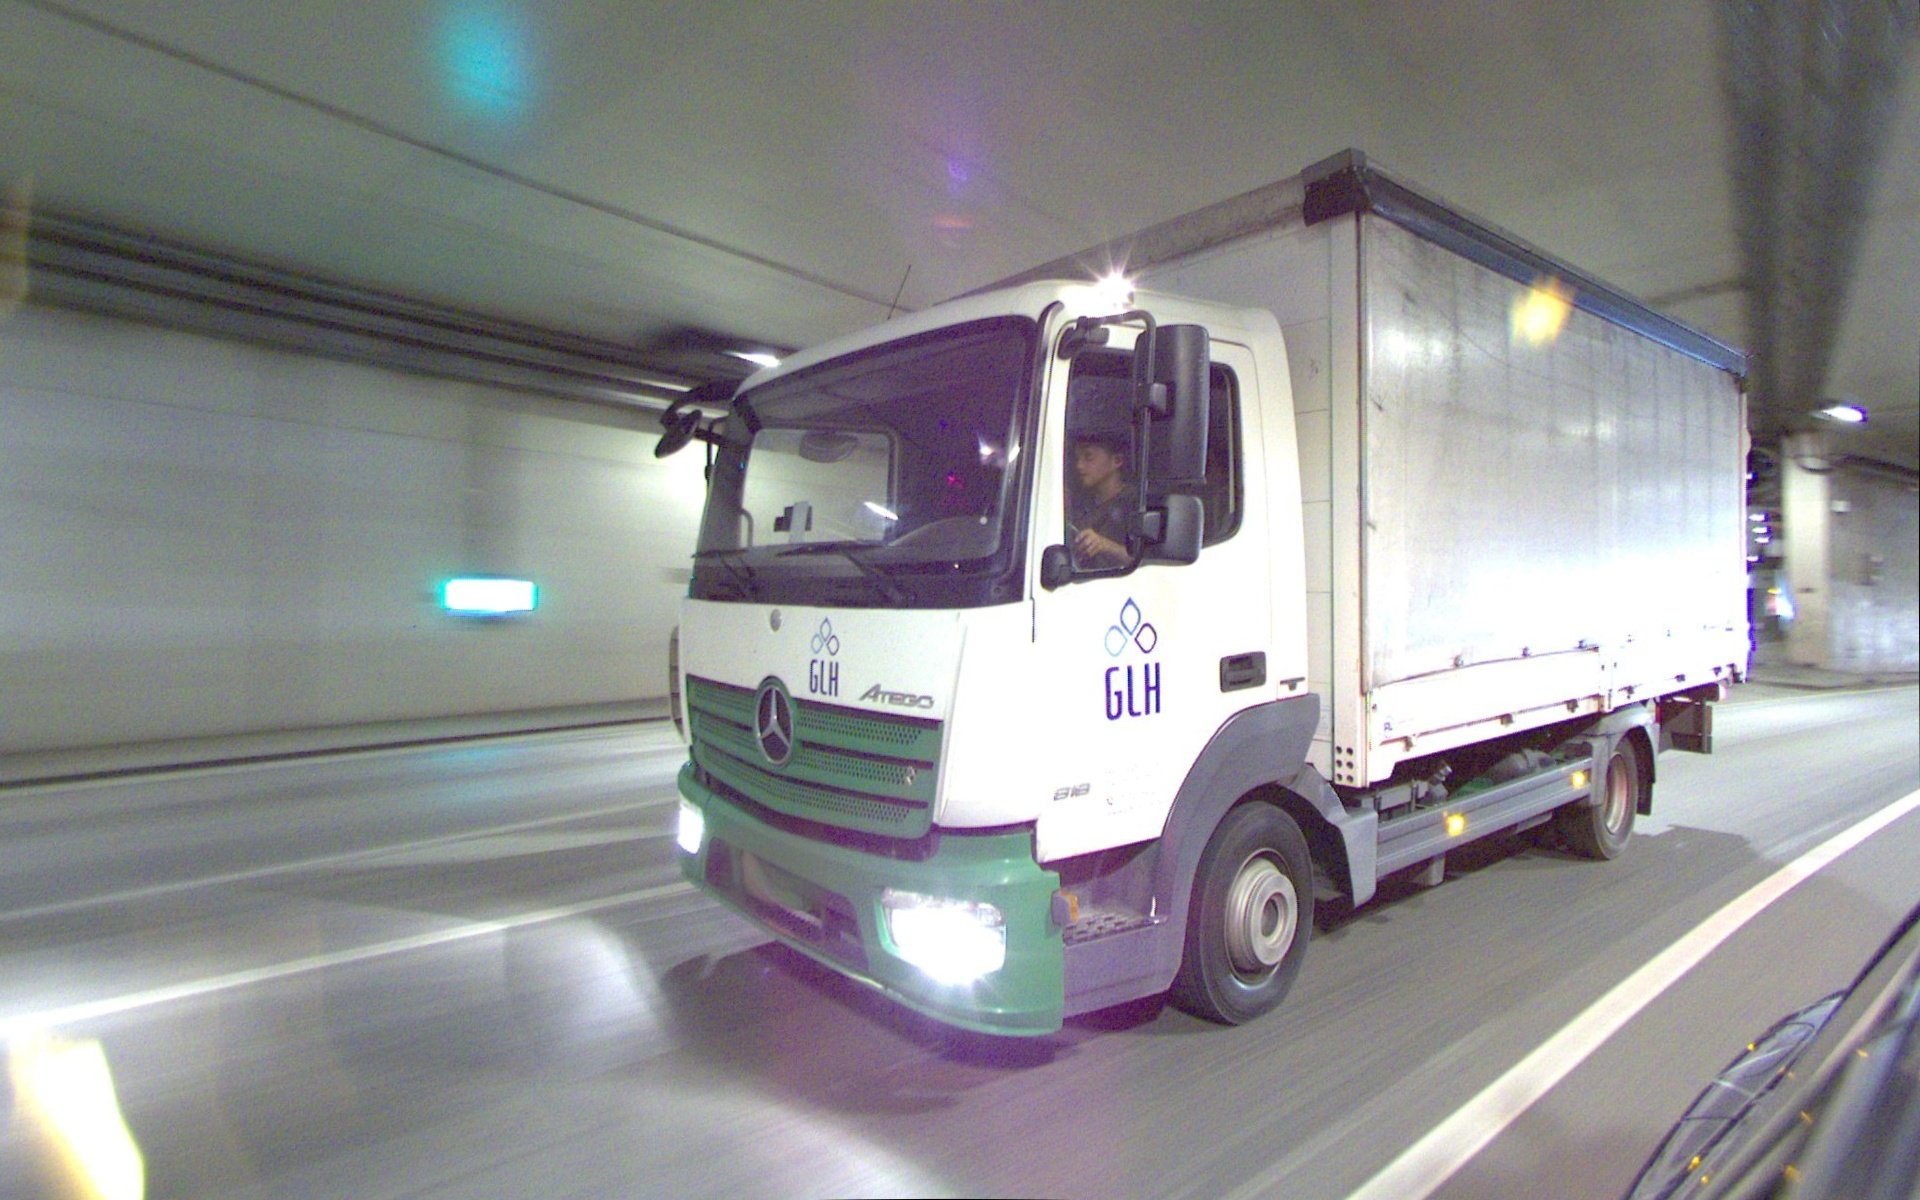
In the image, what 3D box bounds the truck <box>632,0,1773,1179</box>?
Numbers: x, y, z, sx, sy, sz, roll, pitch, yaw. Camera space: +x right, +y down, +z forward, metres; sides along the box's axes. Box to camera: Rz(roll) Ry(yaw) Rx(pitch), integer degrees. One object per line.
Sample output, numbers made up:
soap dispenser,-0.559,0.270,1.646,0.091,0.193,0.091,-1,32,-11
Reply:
truck,2.089,-0.219,5.765,7.115,3.221,2.559,-1,1,-39
